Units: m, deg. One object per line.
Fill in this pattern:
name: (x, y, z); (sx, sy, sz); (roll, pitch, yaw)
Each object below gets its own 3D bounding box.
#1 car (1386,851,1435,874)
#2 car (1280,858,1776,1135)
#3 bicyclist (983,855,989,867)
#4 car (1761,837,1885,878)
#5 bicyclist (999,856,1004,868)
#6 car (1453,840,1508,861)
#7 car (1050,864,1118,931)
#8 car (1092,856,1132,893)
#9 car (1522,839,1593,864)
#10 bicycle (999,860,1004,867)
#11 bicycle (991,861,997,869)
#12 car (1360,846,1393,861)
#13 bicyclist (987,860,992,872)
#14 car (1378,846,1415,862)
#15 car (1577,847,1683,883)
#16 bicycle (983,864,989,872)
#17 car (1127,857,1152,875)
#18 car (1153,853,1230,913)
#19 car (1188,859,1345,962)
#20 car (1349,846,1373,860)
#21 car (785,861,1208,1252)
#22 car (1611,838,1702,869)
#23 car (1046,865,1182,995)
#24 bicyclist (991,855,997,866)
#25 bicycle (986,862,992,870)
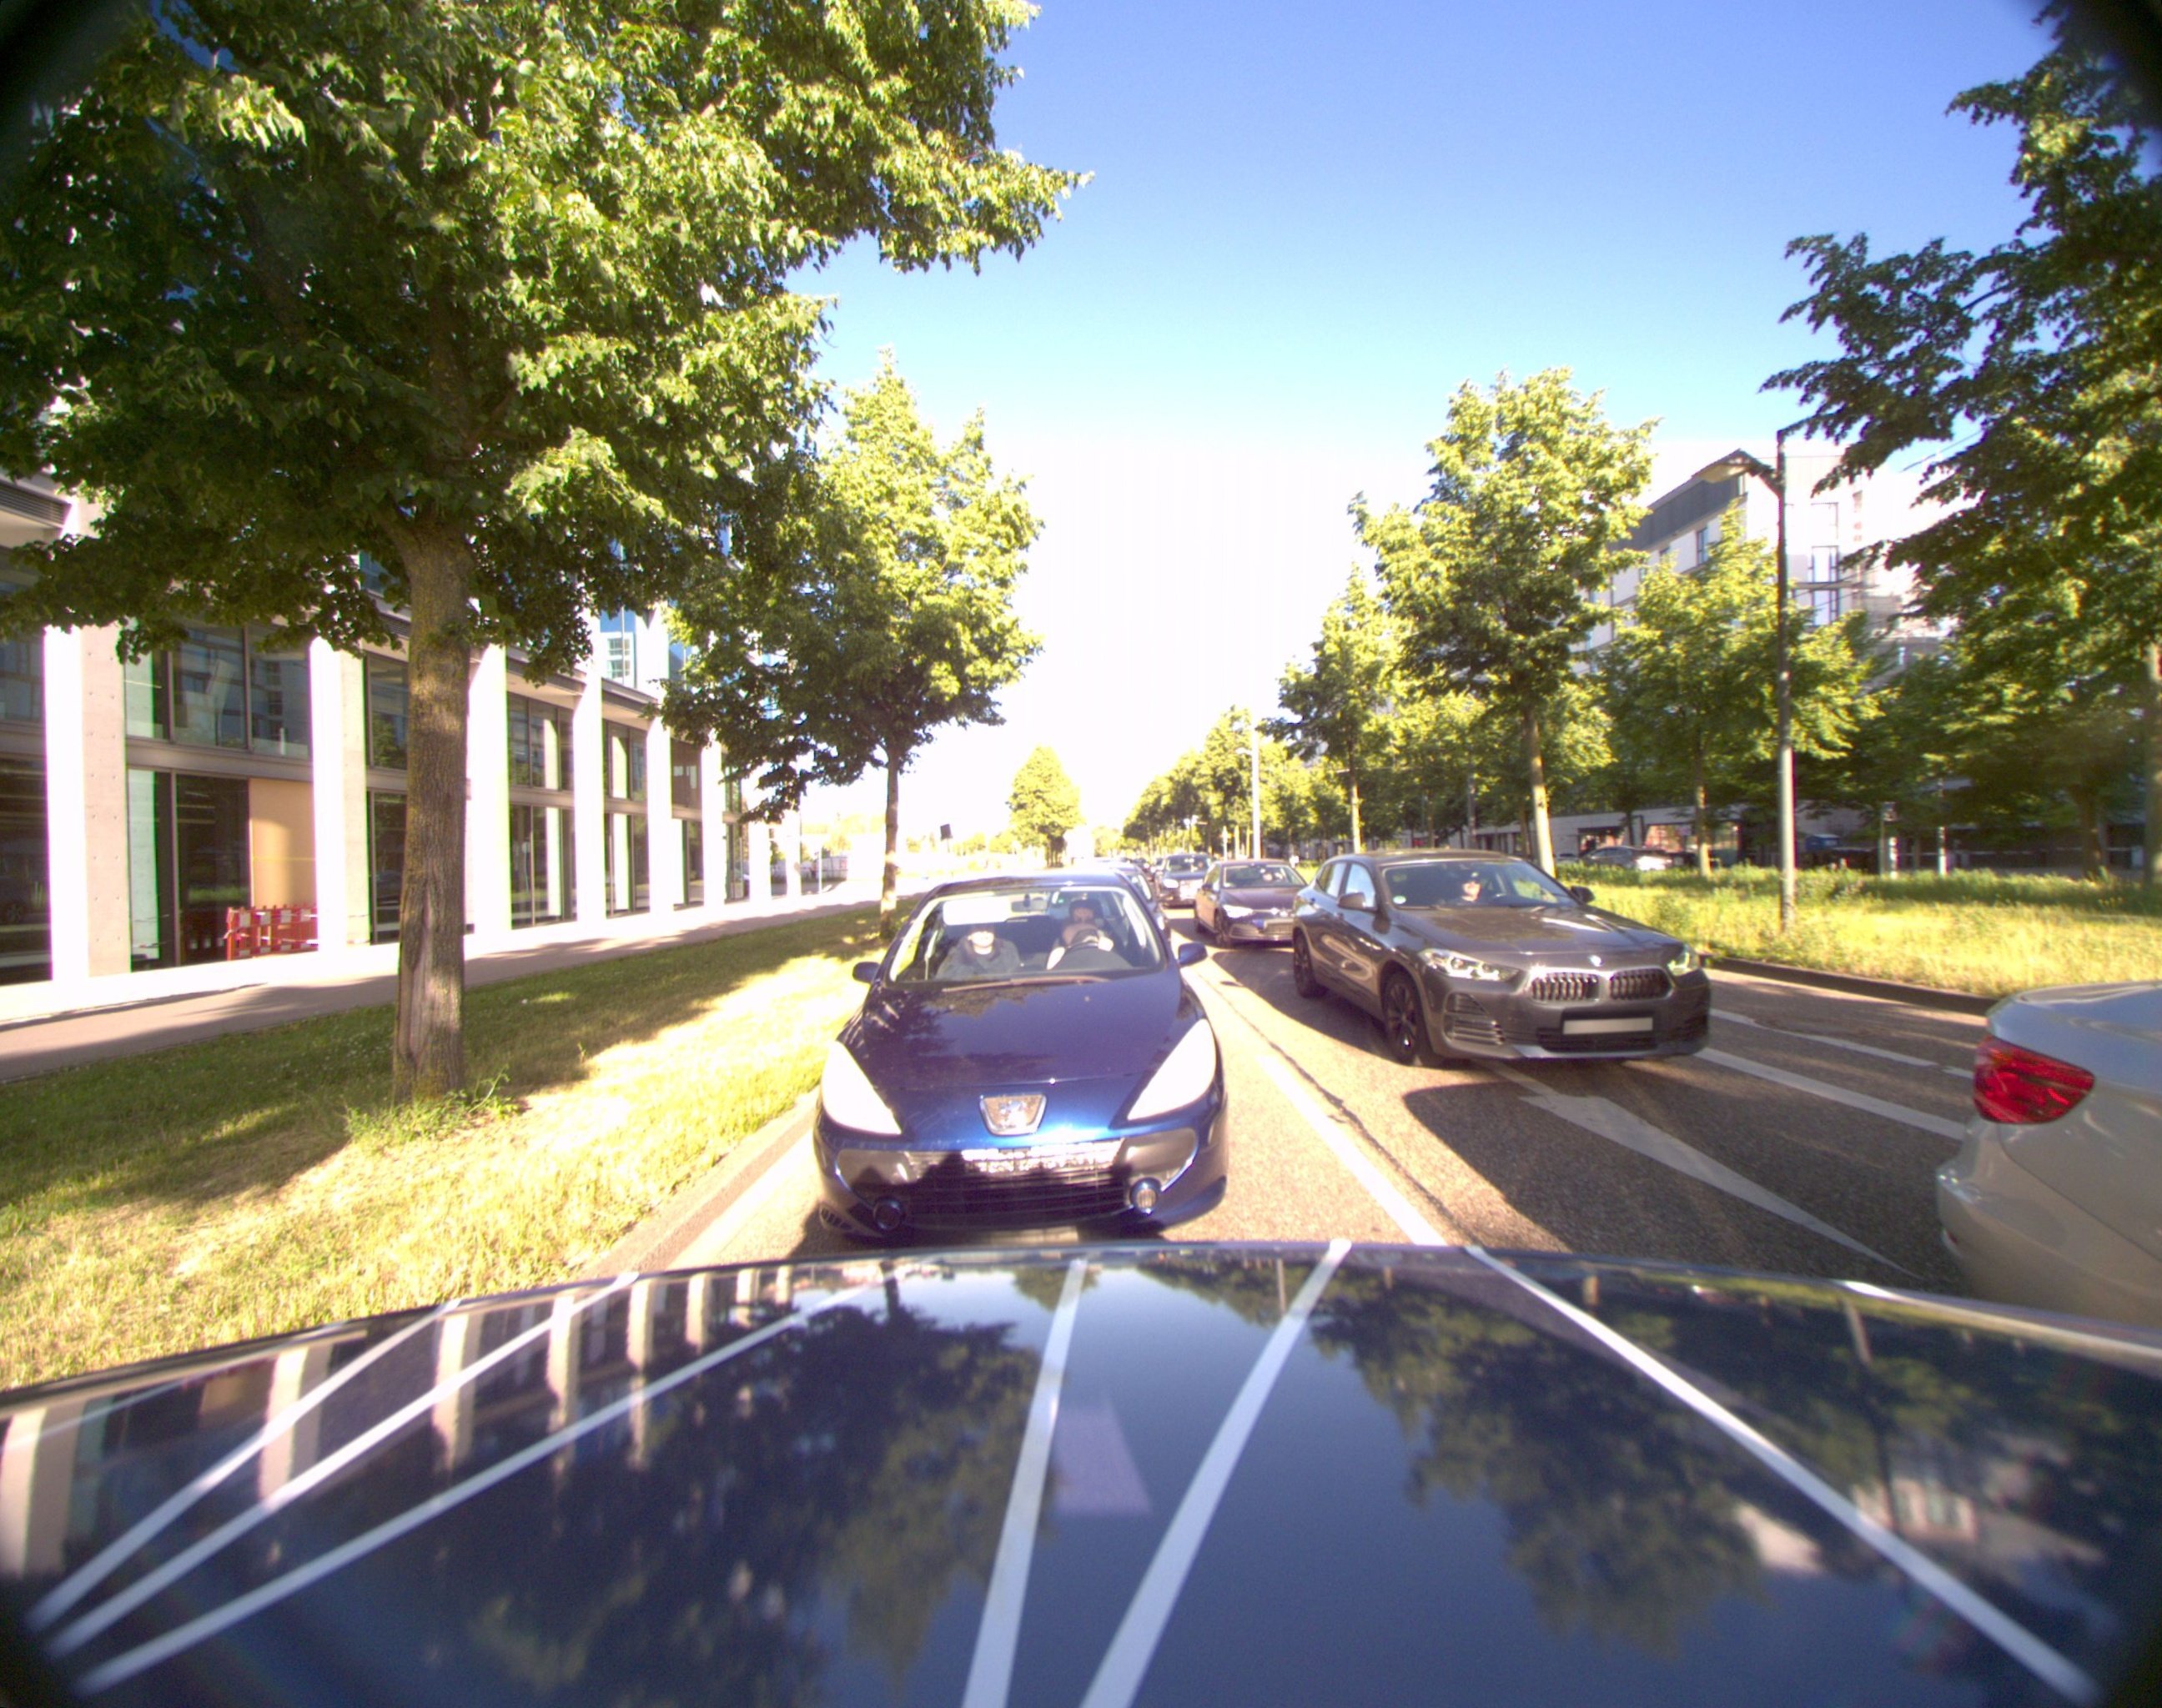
car: (26.280, 0.643, 60.758); (1.858, 1.719, 4.792); (-1, 0, 1)
car: (3.086, 0.832, 6.366); (1.812, 1.513, 4.029); (-1, 0, 1)
bicyclist: (-10.268, 0.724, 82.050); (0.448, 1.282, 0.418); (-2, 1, 1)
car: (34.239, 0.155, 35.219); (1.858, 1.739, 4.000); (-1, 0, 1)
bicyclist: (-9.011, 0.923, 86.135); (0.534, 1.282, 0.521); (-2, 1, 1)
car: (34.638, -0.267, 66.067); (2.012, 1.689, 4.791); (-1, 0, -3)
car: (0.089, 0.960, 18.193); (1.407, 1.326, 3.785); (-1, 0, 1)
car: (1.406, 0.904, 35.373); (1.705, 1.591, 3.785); (-1, 0, 1)
car: (34.840, -0.168, 55.729); (2.012, 1.689, 4.791); (-1, 0, -3)
bicycle: (-9.016, 1.081, 86.161); (0.464, 0.813, 1.344); (-2, 1, 1)
bicycle: (-9.432, 1.151, 82.124); (0.464, 0.813, 1.344); (-2, 1, 1)
car: (34.705, -0.045, 89.374); (2.012, 1.689, 4.791); (-1, 0, -1)
bicyclist: (-10.368, 1.347, 86.020); (0.534, 1.282, 0.457); (-2, 1, 1)
car: (34.673, 0.005, 83.568); (2.012, 1.689, 4.791); (-1, 0, -1)
car: (23.401, 0.430, 32.562); (1.666, 1.384, 4.000); (-1, 0, 1)
bicycle: (-10.238, 1.549, 82.064); (0.415, 0.813, 1.320); (-2, 1, 1)
car: (5.863, 1.181, 76.637); (2.012, 1.689, 4.791); (-1, 0, -1)
car: (3.213, 0.800, 22.808); (1.812, 1.581, 4.165); (-1, 0, 2)
car: (3.052, 0.853, 13.394); (1.812, 1.445, 4.254); (-1, 0, 2)
car: (34.715, -0.155, 94.203); (1.601, 1.659, 3.743); (-1, 0, 1)
car: (-0.318, 0.847, 4.986); (1.686, 1.513, 3.785); (-1, 0, 1)
car: (34.427, -0.036, 45.605); (1.858, 1.674, 4.792); (-1, 0, 1)
car: (0.432, 0.957, 11.387); (1.612, 1.463, 4.395); (-1, 0, 1)
bicyclist: (-9.448, 0.728, 82.147); (0.534, 1.210, 0.507); (-2, 1, 1)
bicycle: (-10.396, 1.329, 86.026); (0.464, 0.813, 1.344); (-2, 1, 1)
